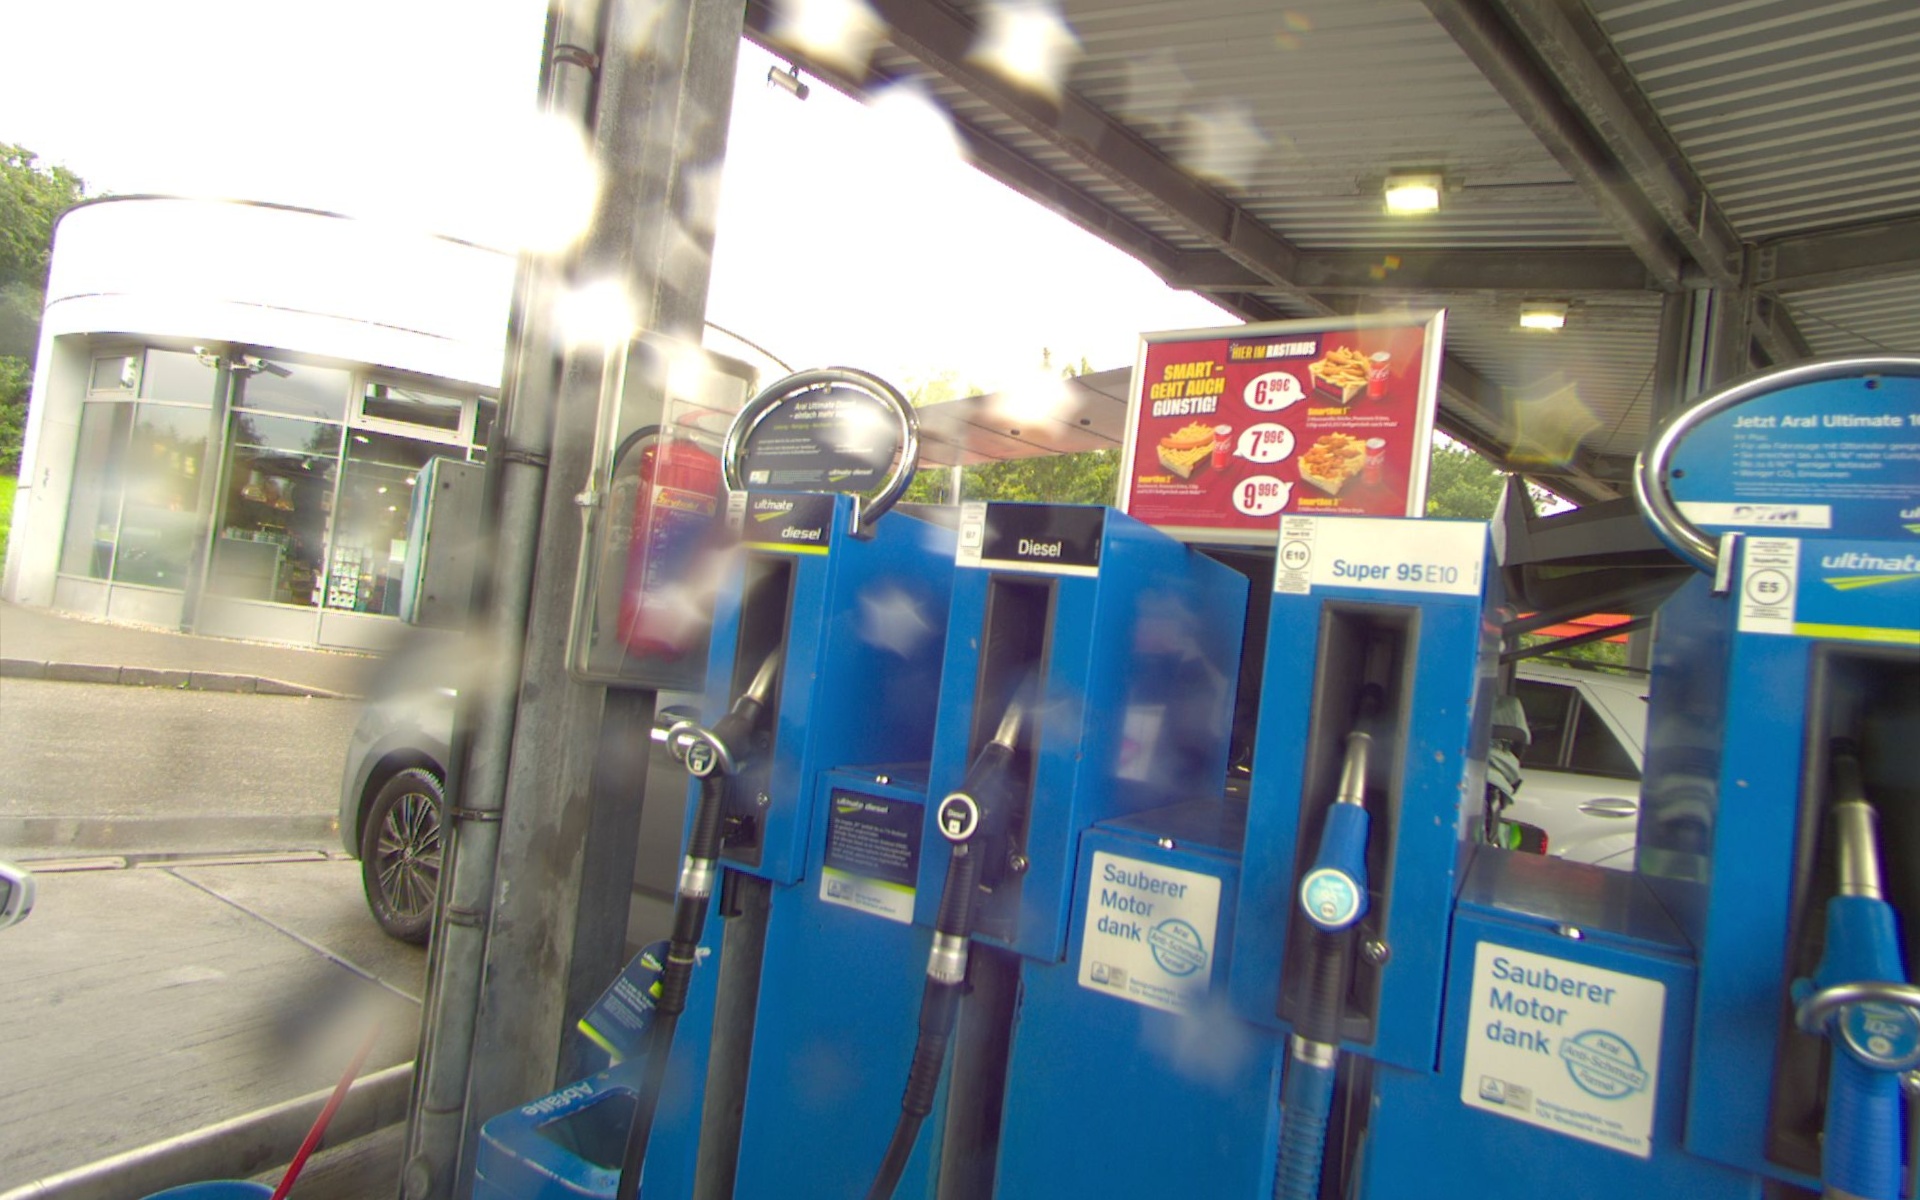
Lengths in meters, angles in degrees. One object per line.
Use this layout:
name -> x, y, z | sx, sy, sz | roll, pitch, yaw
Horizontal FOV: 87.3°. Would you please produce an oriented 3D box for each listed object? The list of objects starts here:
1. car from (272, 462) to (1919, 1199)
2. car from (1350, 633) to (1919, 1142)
car -> -0.157, 0.647, 3.681 | 5.055, 1.819, 1.865 | 6, -2, 32
car -> 4.480, 1.372, 4.824 | 4.464, 1.819, 1.865 | 6, -2, 32
